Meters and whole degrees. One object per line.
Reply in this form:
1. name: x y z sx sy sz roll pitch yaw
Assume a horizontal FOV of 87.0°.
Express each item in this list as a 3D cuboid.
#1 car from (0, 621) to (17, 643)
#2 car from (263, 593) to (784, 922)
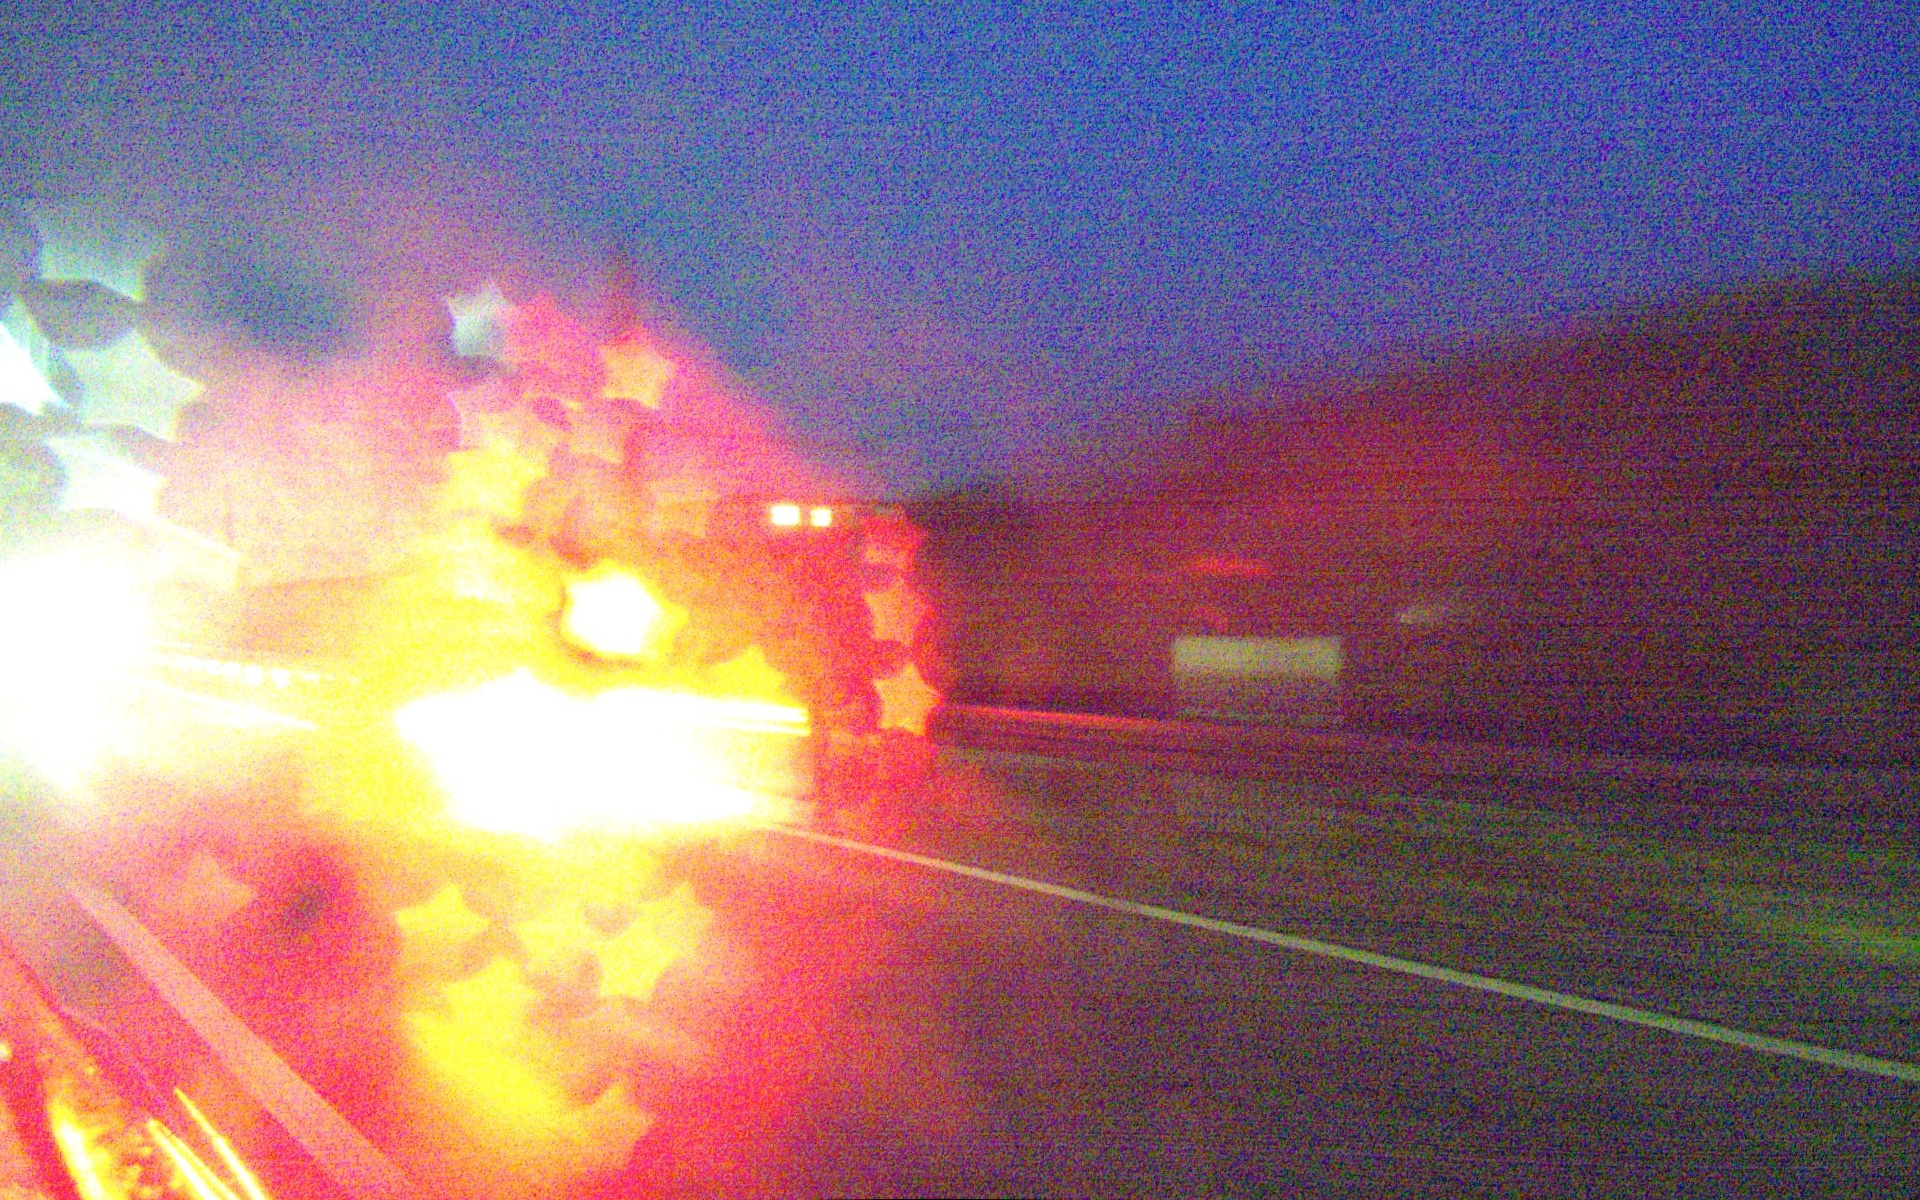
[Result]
1. car: -73.993 2.461 77.988 1.721 1.646 3.741 0 -2 -40
2. car: -2.972 0.750 6.539 3.682 1.517 1.684 -1 -1 41
